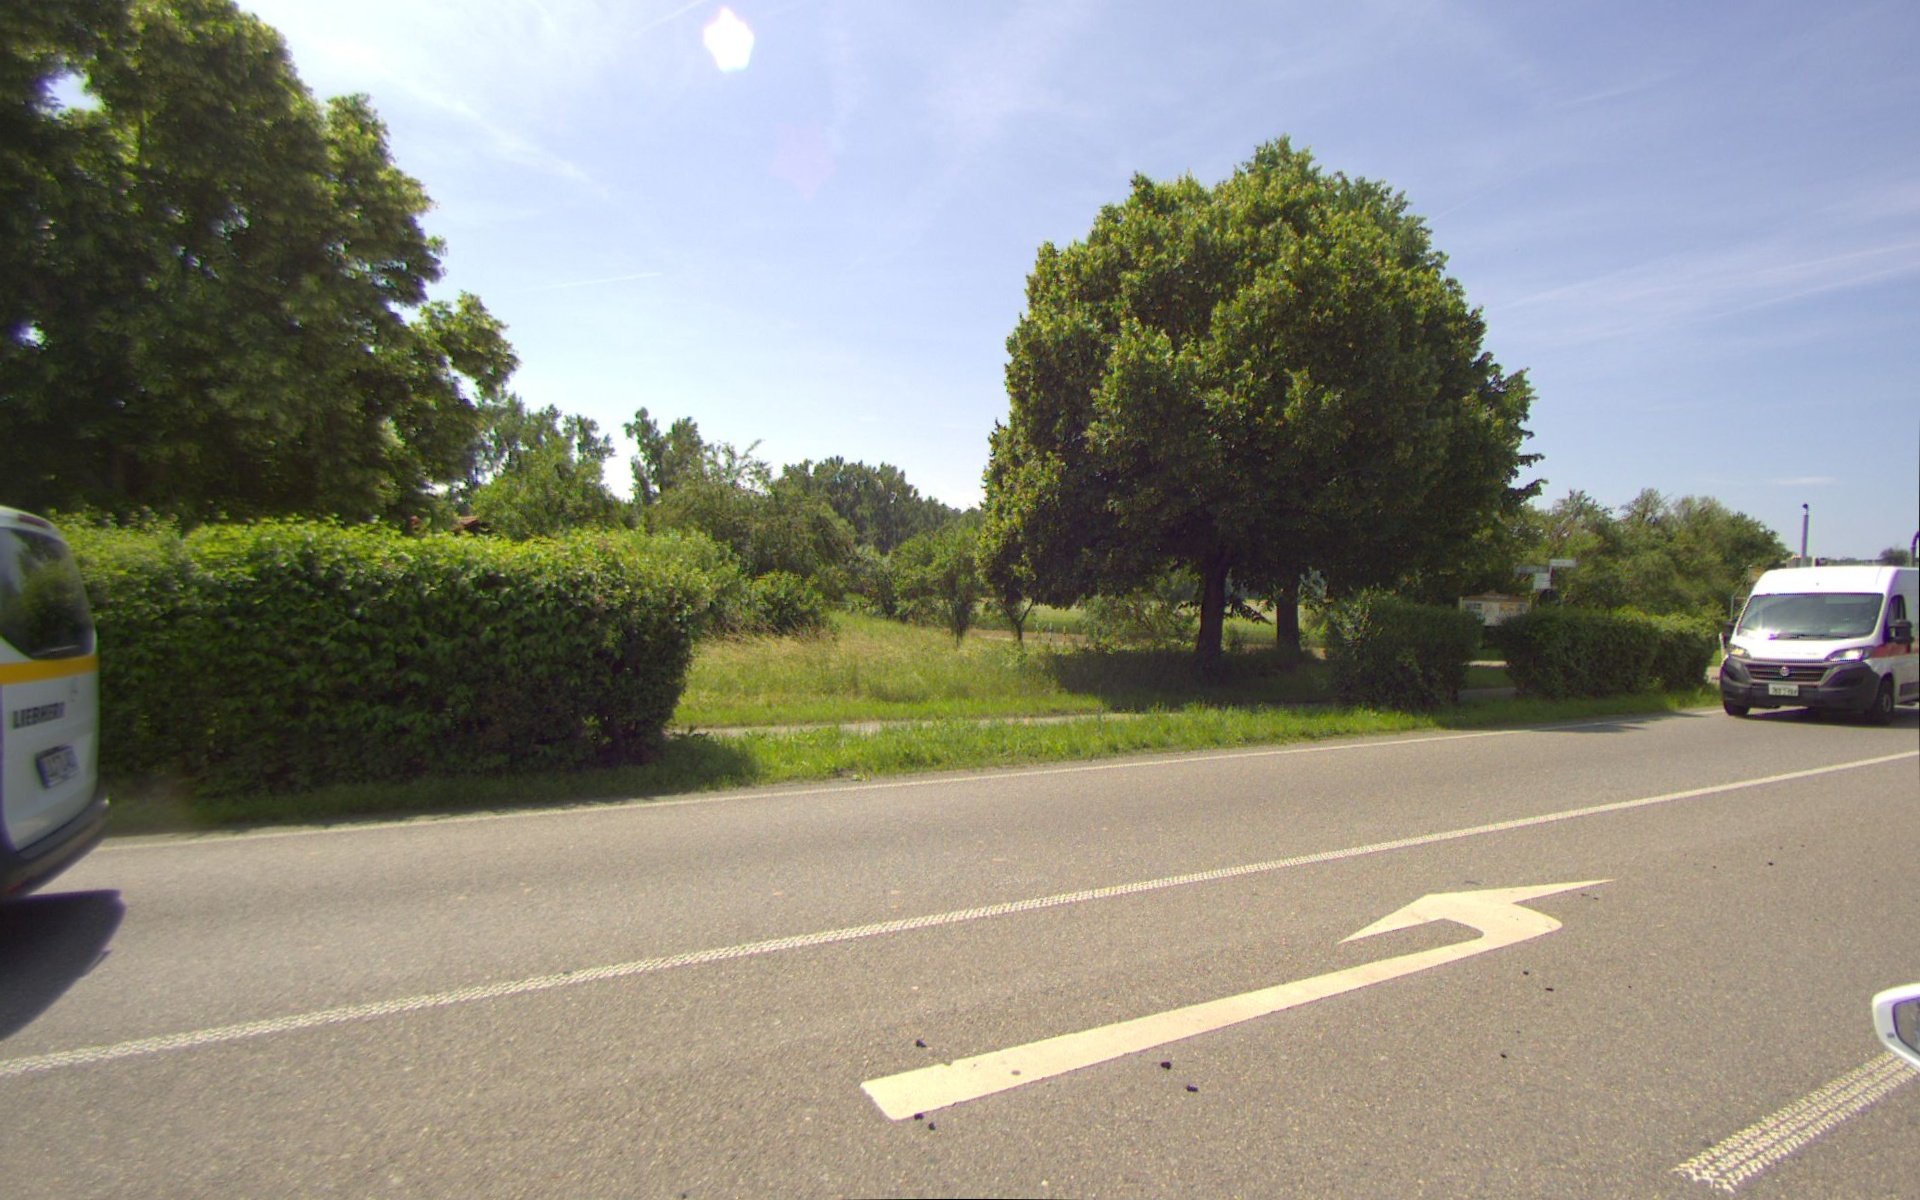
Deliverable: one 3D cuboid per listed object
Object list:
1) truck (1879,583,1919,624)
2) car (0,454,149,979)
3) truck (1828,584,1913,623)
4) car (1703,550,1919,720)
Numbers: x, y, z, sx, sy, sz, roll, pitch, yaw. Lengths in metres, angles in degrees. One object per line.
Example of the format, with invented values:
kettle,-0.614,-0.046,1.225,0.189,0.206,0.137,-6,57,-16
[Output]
truck,102.581,0.377,106.151,3.578,4.184,13.094,2,-1,22
car,-5.964,0.393,3.148,5.083,1.890,1.863,1,-1,-32
truck,109.333,0.550,120.915,3.473,4.296,13.397,2,-1,24
car,14.839,0.564,17.027,5.214,2.484,2.038,1,-1,-35
